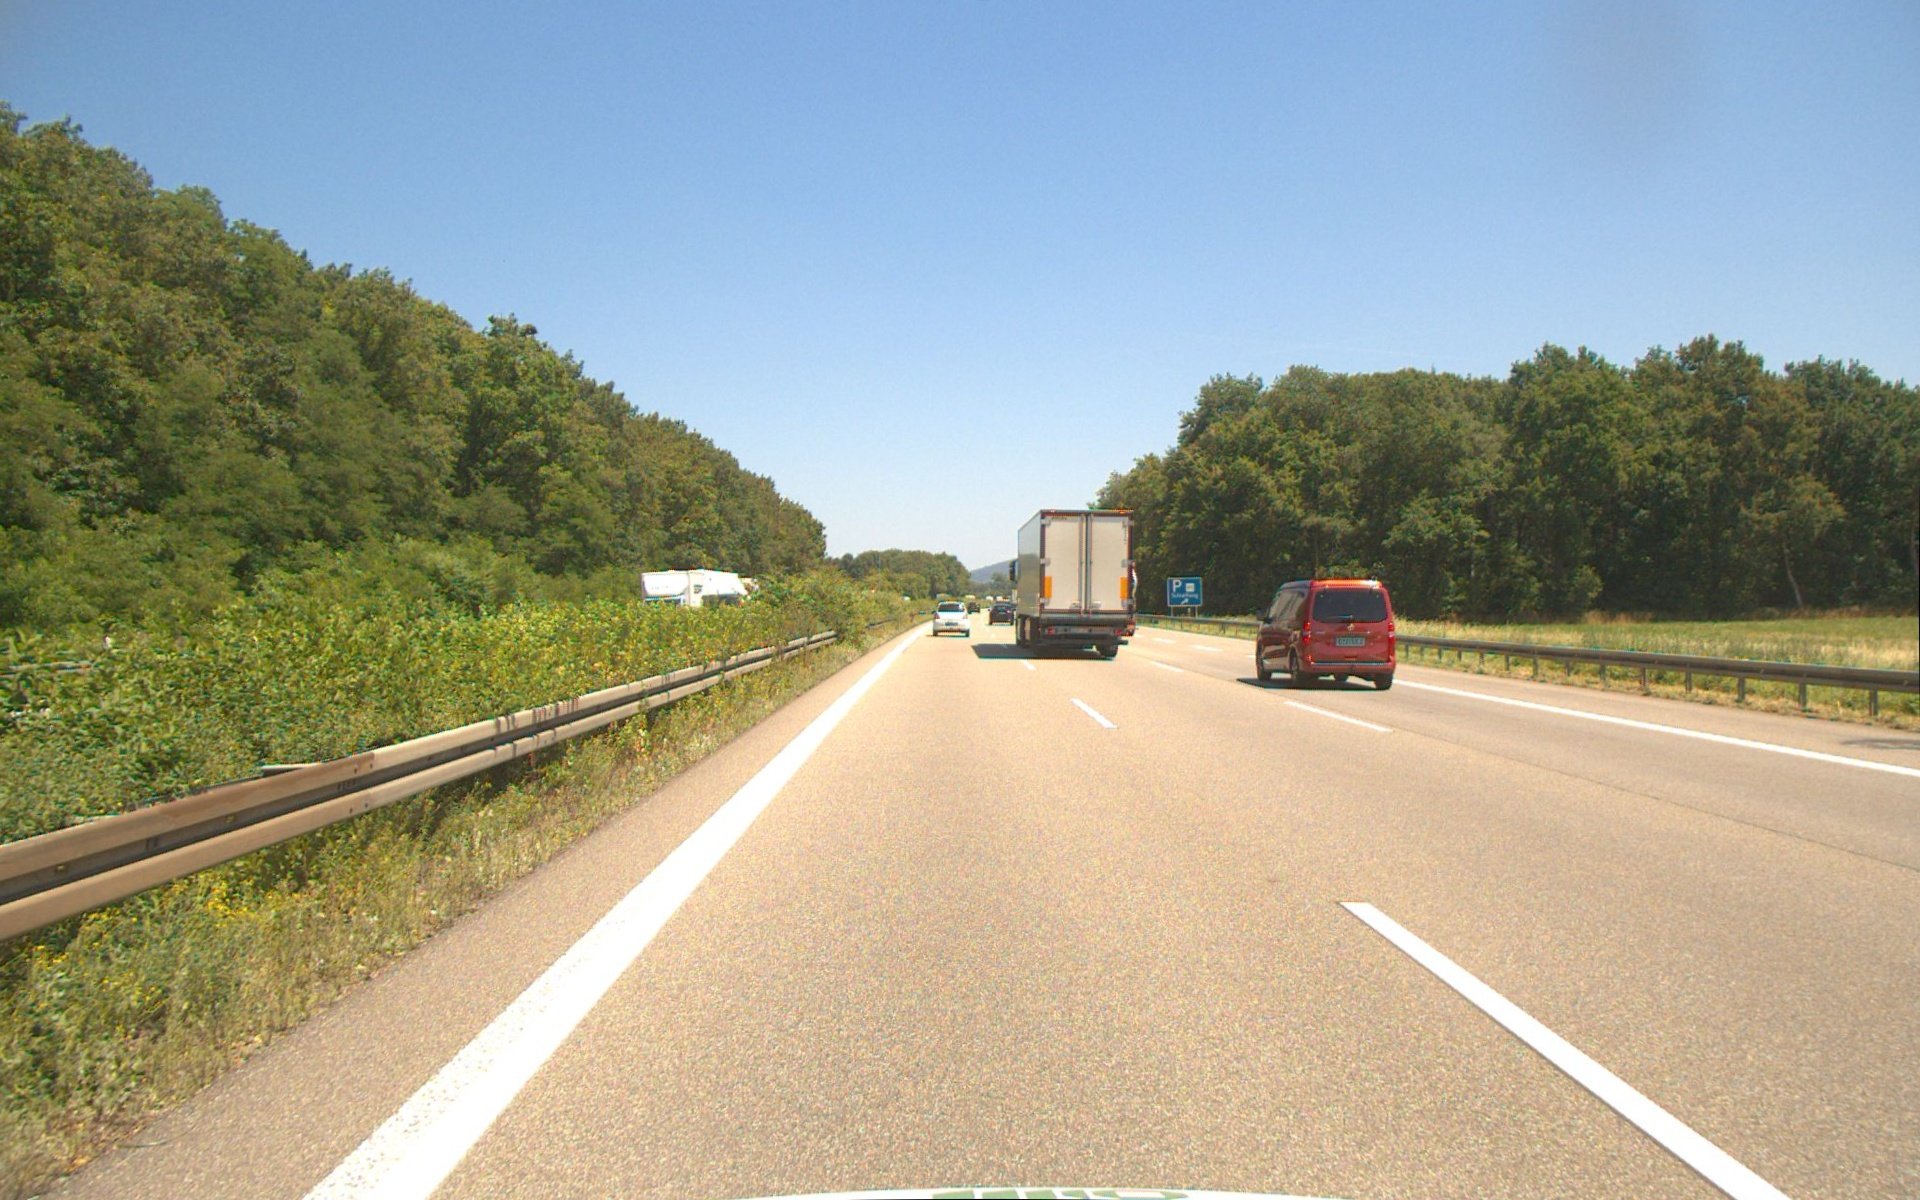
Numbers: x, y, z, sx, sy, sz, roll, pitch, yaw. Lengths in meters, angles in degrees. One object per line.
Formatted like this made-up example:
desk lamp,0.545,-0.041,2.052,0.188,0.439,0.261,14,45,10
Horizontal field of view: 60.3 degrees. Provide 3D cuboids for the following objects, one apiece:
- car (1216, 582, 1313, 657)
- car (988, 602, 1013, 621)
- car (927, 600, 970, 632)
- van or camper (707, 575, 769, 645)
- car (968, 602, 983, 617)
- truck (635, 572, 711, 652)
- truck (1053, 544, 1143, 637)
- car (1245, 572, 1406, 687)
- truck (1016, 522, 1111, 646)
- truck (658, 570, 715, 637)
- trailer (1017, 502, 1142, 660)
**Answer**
car,8.597,0.525,47.009,1.953,2.049,3.999,0,0,-1
car,2.842,0.814,116.322,1.633,1.312,4.002,0,0,3
car,-0.550,0.703,74.599,1.775,1.429,3.315,0,0,-3
van or camper,-9.621,0.407,72.169,1.953,2.896,6.998,0,0,-2
car,2.186,1.361,237.167,2.064,2.049,3.999,1,0,-1
truck,-13.151,0.514,76.196,2.361,3.412,6.998,-2,0,-2
truck,6.860,-0.450,83.814,3.159,4.421,10.801,0,0,-3
car,7.085,0.542,32.661,1.818,2.038,5.520,1,0,-2
truck,3.593,-0.540,58.658,3.162,4.230,4.560,0,0,1
truck,-17.291,0.211,104.784,2.776,4.104,4.184,-2,0,0
trailer,3.421,-0.519,50.421,3.157,4.216,12.353,0,0,1
